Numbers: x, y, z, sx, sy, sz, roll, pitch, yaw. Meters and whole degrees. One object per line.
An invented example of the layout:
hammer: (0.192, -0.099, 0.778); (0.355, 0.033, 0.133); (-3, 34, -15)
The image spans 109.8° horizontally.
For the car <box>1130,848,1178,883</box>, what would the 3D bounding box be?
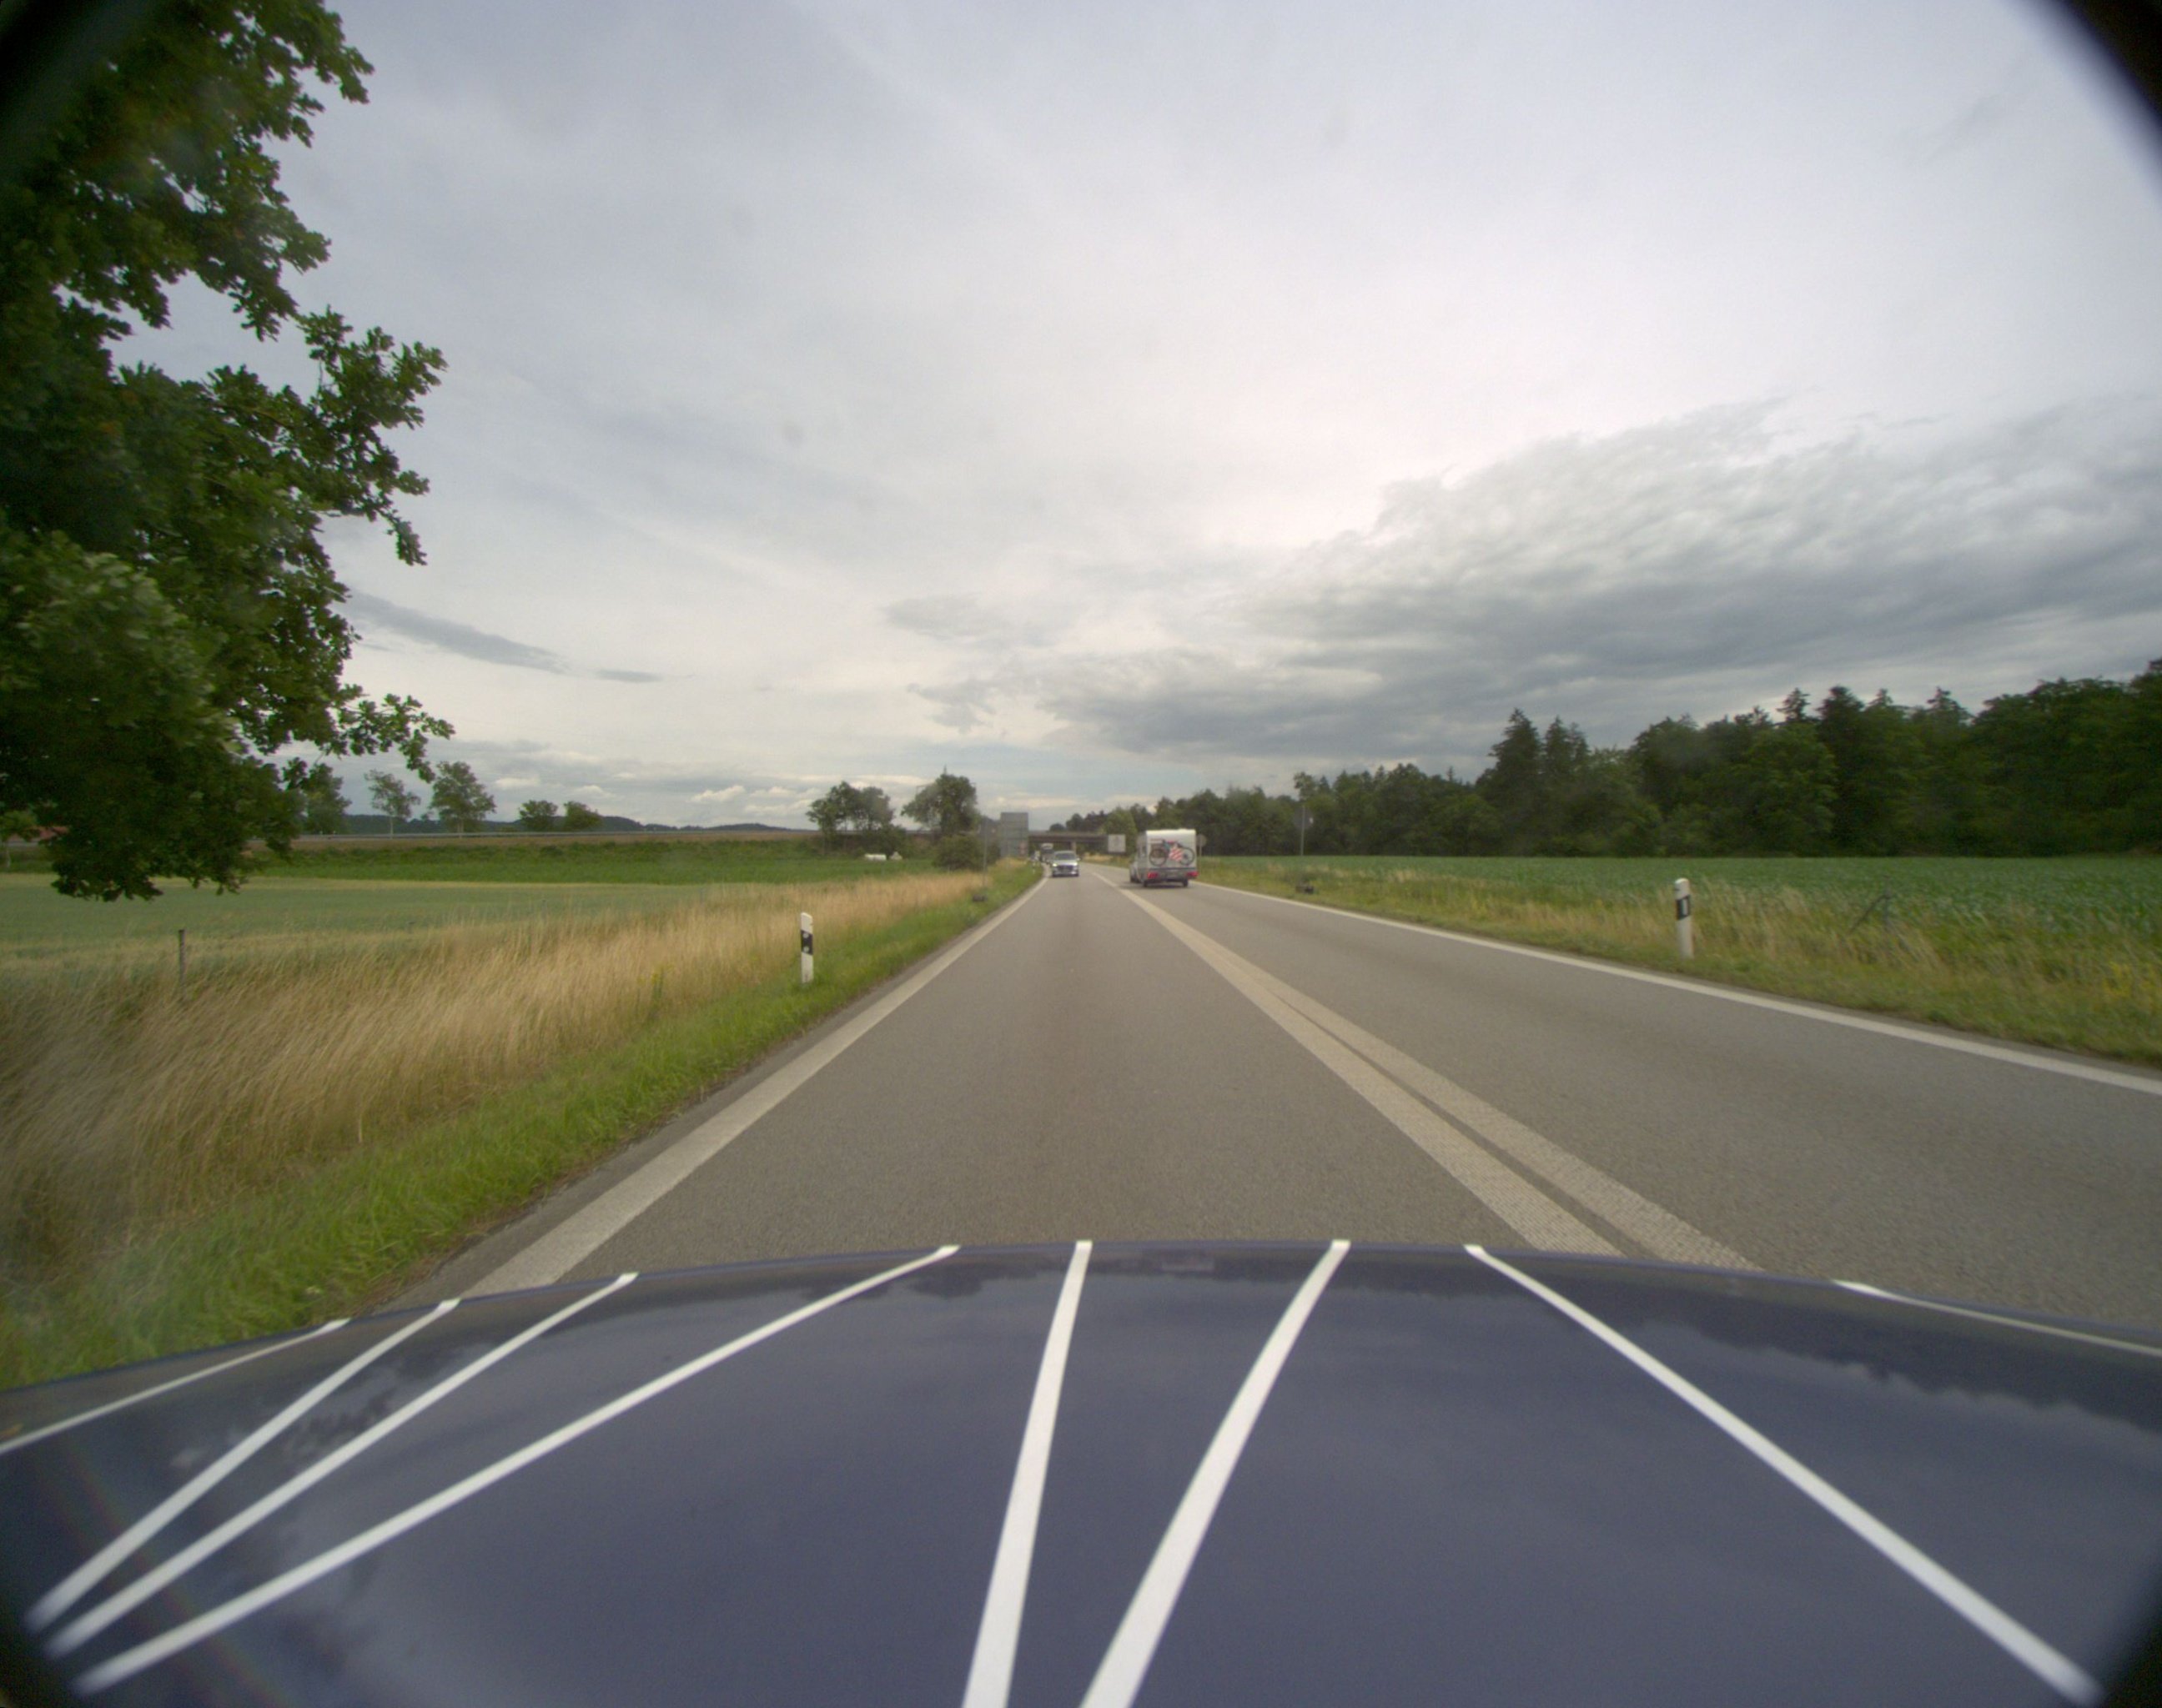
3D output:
car: (3.722, 0.554, 39.551); (2.011, 1.648, 4.326); (-3, 1, 0)

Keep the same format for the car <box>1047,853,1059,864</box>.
car: (-4.728, 0.720, 128.921); (1.862, 1.679, 4.112); (-3, 1, 1)

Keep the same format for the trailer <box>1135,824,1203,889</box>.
trailer: (3.828, 0.064, 34.202); (2.187, 2.560, 6.242); (-3, 1, 0)

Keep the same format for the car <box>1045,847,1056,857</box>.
car: (-6.661, -0.422, 166.312); (1.998, 2.002, 4.001); (-3, 1, 5)

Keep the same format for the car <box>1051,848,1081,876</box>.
car: (-1.109, 0.547, 55.382); (1.924, 1.823, 3.998); (-3, 1, -4)
